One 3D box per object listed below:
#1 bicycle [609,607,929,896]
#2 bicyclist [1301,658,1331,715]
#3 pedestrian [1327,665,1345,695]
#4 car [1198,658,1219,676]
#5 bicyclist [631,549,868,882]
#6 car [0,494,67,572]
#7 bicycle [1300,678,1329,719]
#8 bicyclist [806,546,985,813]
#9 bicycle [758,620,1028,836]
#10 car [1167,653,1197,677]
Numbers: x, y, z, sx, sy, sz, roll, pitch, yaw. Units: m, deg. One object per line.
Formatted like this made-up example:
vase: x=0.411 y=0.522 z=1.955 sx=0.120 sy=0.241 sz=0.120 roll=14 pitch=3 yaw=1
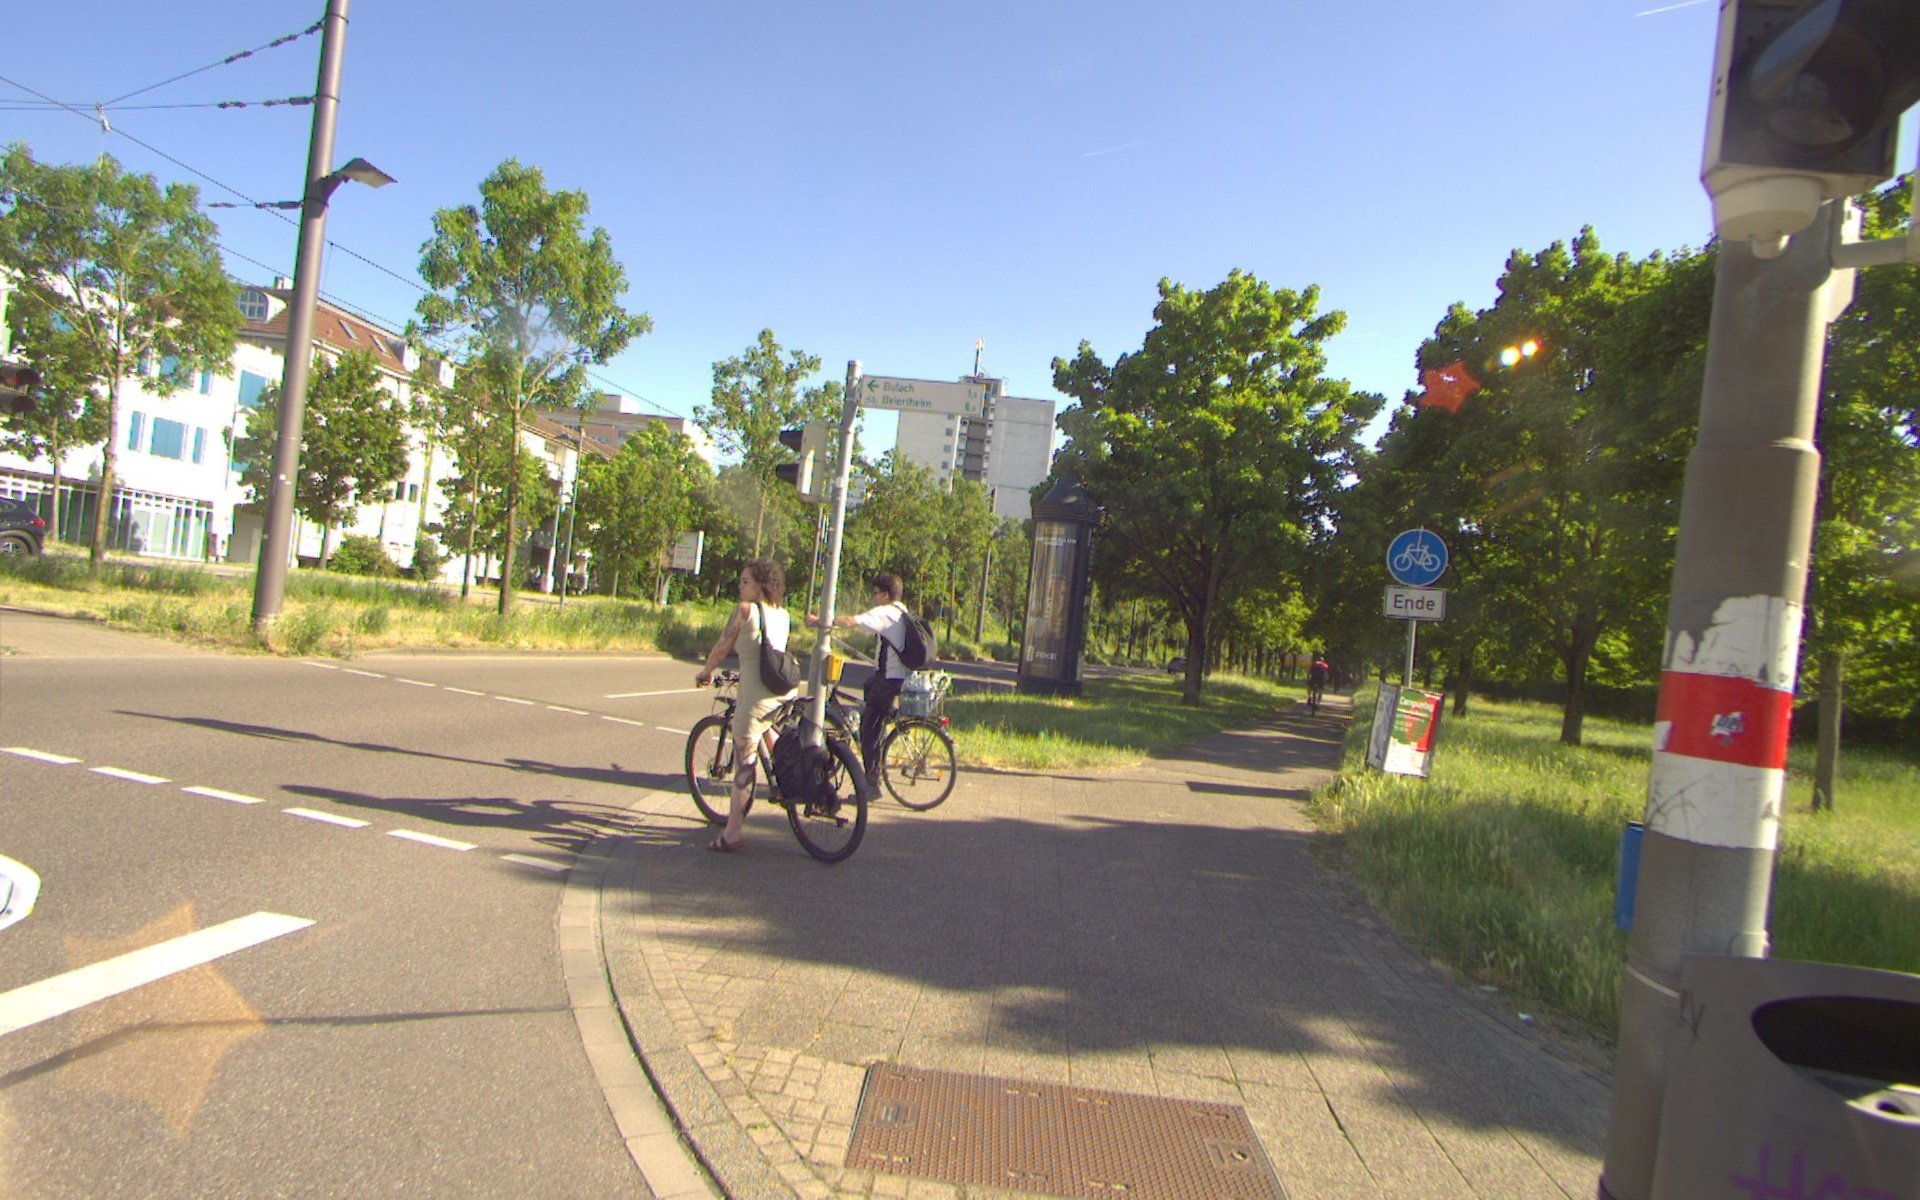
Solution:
bicycle: x=-1.256 y=0.833 z=6.254 sx=2.051 sy=1.364 sz=0.788 roll=6 pitch=-1 yaw=44
bicyclist: x=10.514 y=2.541 z=29.680 sx=0.661 sy=1.605 sz=1.005 roll=6 pitch=0 yaw=21
pedestrian: x=23.509 y=5.011 z=62.891 sx=0.725 sy=1.747 sz=0.890 roll=6 pitch=0 yaw=9
car: x=26.930 y=7.237 z=108.894 sx=1.662 sy=1.594 sz=3.877 roll=5 pitch=-4 yaw=21
bicyclist: x=-1.337 y=0.669 z=6.335 sx=1.120 sy=1.846 sz=0.788 roll=6 pitch=0 yaw=44
car: x=-22.546 y=-1.691 z=21.675 sx=1.962 sy=1.628 sz=4.519 roll=6 pitch=-1 yaw=15
bicycle: x=10.482 y=2.891 z=29.696 sx=0.661 sy=1.068 sz=1.812 roll=6 pitch=-1 yaw=21
bicyclist: x=-0.532 y=0.619 z=8.193 sx=0.998 sy=1.983 sz=0.788 roll=6 pitch=0 yaw=44
bicycle: x=-0.612 y=0.969 z=8.245 sx=2.233 sy=1.364 sz=0.788 roll=6 pitch=-1 yaw=44
car: x=17.844 y=5.247 z=80.755 sx=1.662 sy=1.594 sz=3.877 roll=5 pitch=-4 yaw=21
